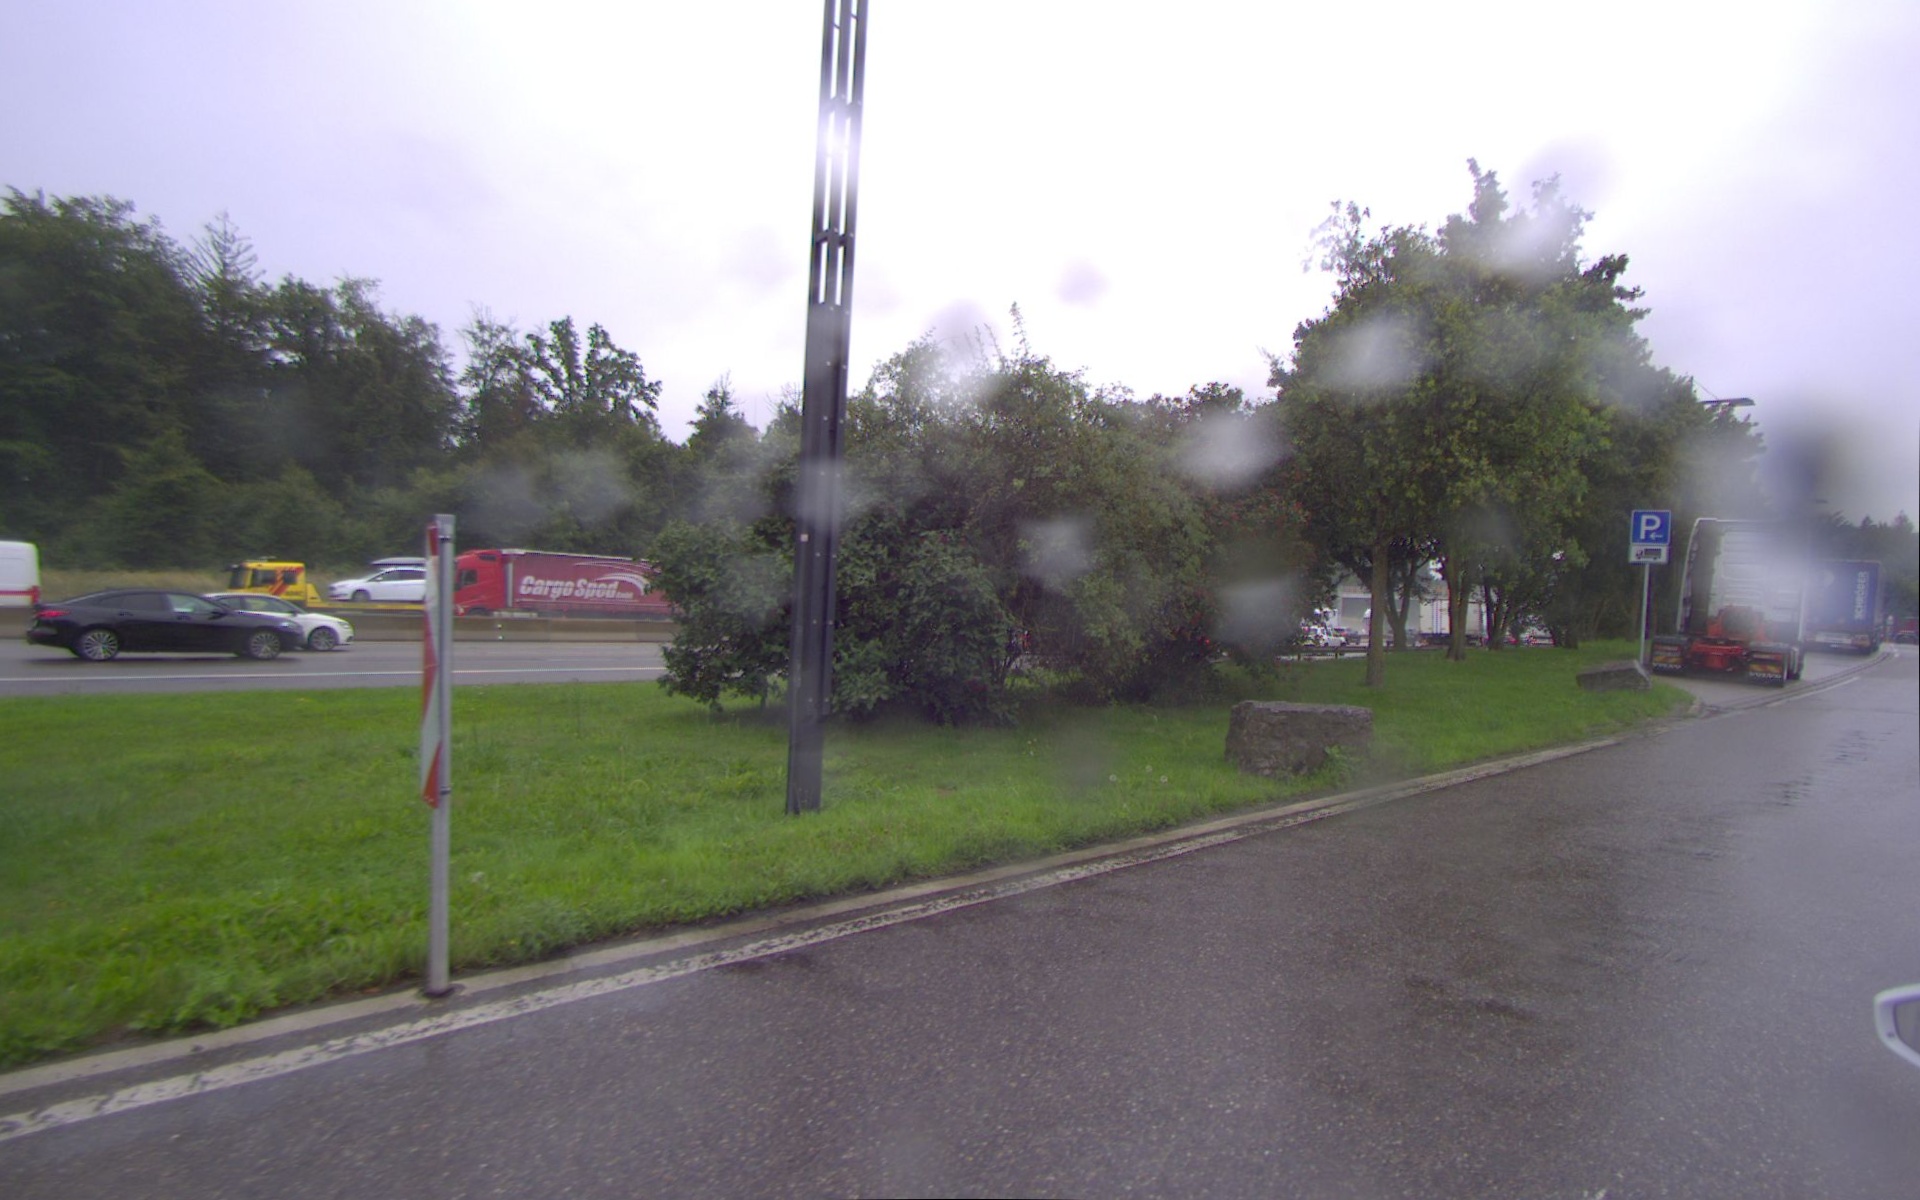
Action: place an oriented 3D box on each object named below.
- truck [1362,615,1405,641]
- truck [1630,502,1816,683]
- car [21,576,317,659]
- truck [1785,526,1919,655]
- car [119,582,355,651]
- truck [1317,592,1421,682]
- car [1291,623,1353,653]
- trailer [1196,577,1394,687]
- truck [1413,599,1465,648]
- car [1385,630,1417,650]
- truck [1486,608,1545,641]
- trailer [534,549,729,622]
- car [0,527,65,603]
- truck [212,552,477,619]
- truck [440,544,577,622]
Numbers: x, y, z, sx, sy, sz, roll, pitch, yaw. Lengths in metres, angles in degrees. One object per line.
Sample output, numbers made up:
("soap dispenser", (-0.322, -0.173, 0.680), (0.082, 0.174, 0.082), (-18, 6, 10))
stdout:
("truck", (62.705, 4.122, 148.722), (8.629, 3.552, 2.744), (1, 1, -45))
("truck", (19.311, -0.139, 25.268), (2.885, 3.956, 6.277), (2, 1, 44))
("car", (-16.096, 0.397, 20.633), (1.858, 1.500, 4.480), (2, -1, 41))
("truck", (42.199, -0.379, 47.103), (4.738, 5.376, 11.008), (2, 1, 42))
("car", (-17.825, 0.445, 24.913), (1.860, 1.500, 4.475), (2, -2, 45))
("truck", (20.094, 1.820, 49.206), (2.840, 4.106, 5.904), (1, -2, 42))
("car", (19.995, 2.077, 55.422), (1.887, 1.571, 3.980), (1, -1, 41))
("trailer", (14.813, 1.496, 43.145), (2.862, 4.035, 14.048), (0, -2, 41))
("truck", (36.630, 1.797, 76.751), (2.470, 3.408, 4.737), (6, 2, 36))
("car", (41.167, 3.752, 93.697), (1.791, 1.791, 3.983), (1, -1, 39))
("truck", (61.087, 2.665, 110.521), (5.190, 3.043, 1.987), (7, 5, 44))
("trailer", (-18.266, -0.700, 56.795), (2.428, 3.662, 10.688), (6, 3, 40))
("car", (-29.315, -1.144, 28.399), (1.972, 2.126, 5.790), (3, -1, 44))
("truck", (-25.417, -0.485, 42.052), (2.078, 2.492, 9.265), (-2, -2, 42))
("truck", (-22.971, -0.806, 51.287), (2.412, 3.668, 5.772), (6, 3, 40))
